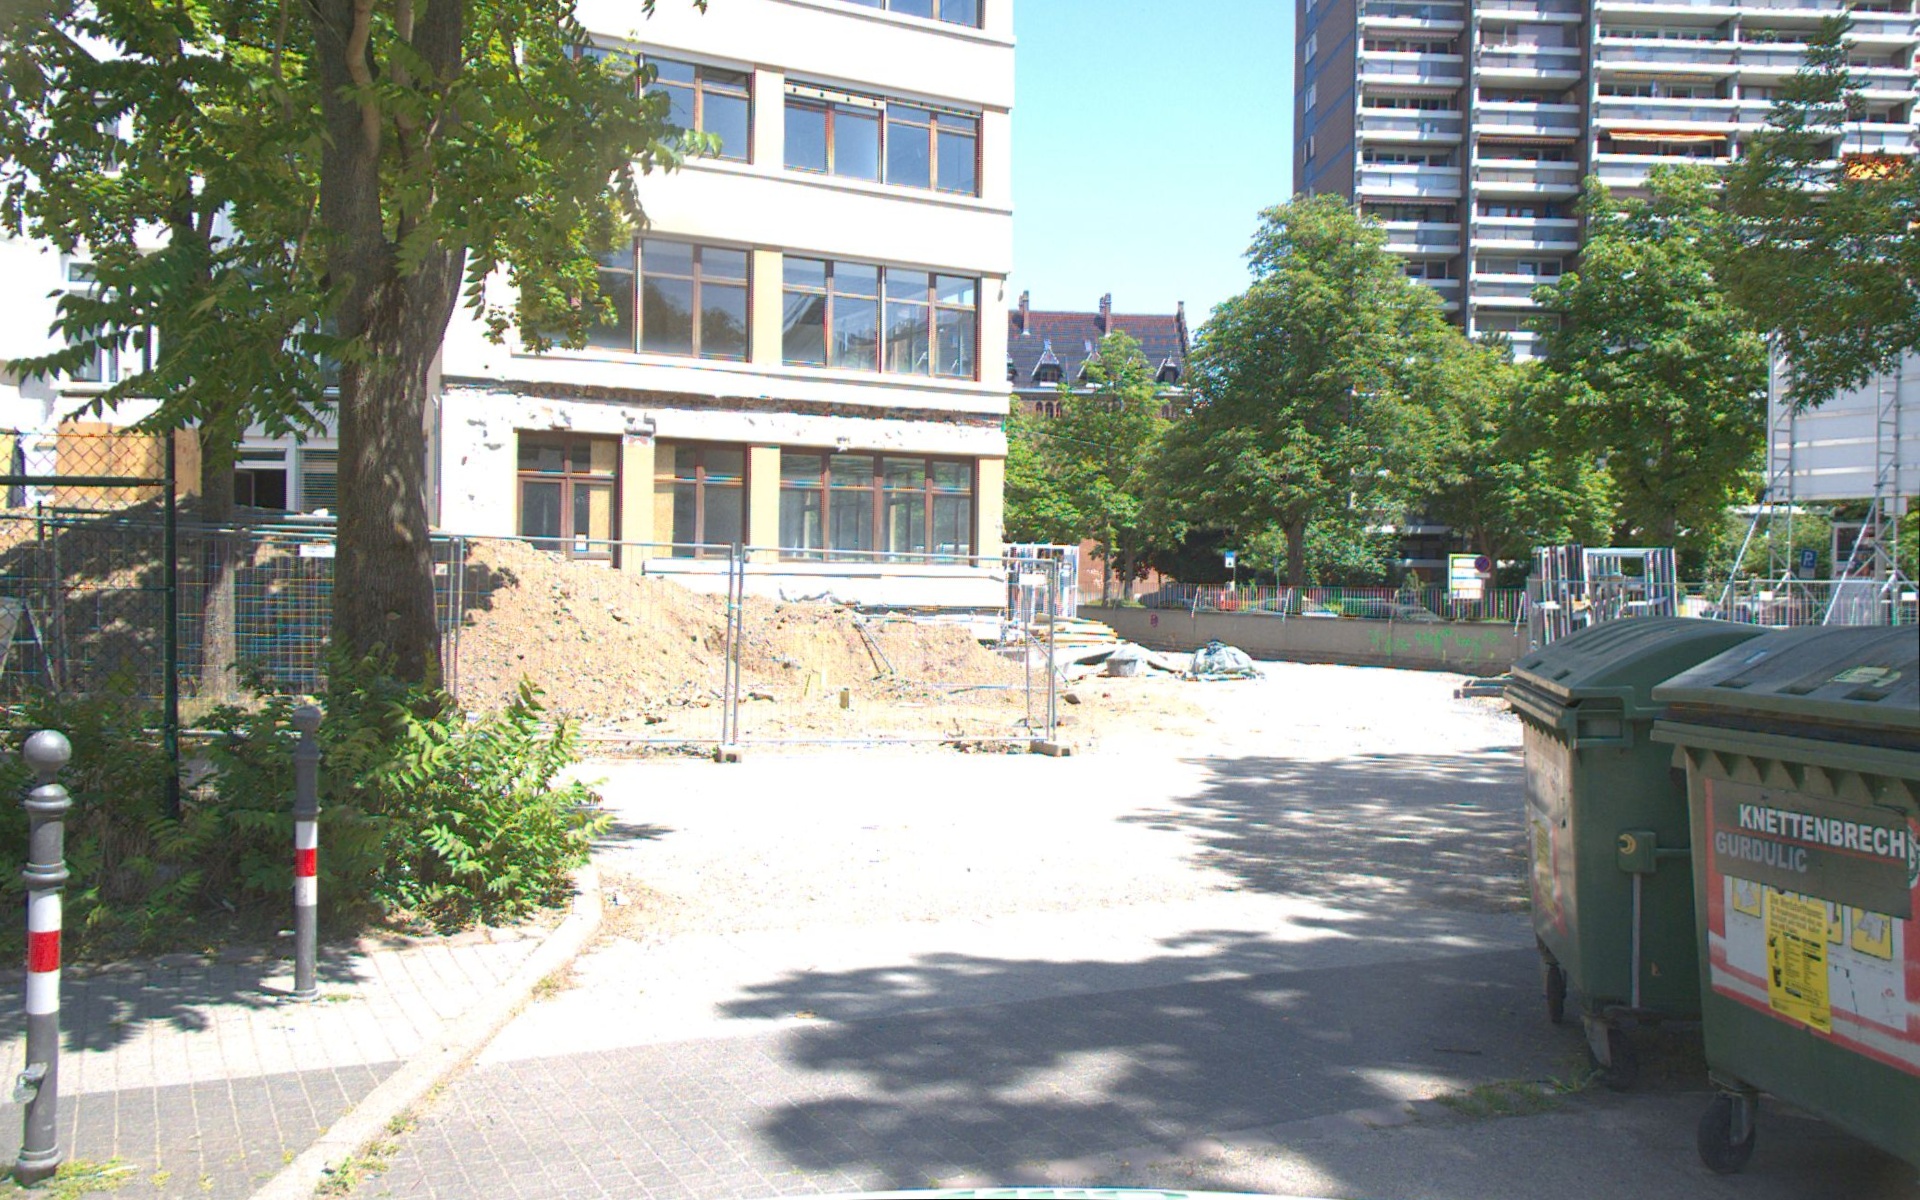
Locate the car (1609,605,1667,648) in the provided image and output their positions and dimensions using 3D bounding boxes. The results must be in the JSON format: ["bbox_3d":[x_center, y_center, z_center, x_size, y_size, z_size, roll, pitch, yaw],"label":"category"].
[{"bbox_3d":[23.451,0.900,57.287,1.599,1.411,3.679,1,0,18],"label":"car"}]

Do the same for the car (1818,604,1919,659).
[{"bbox_3d":[26.052,0.864,47.531,1.598,1.489,3.681,1,0,13],"label":"car"}]

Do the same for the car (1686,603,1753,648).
[{"bbox_3d":[24.850,0.809,54.211,1.599,1.411,3.679,1,0,18],"label":"car"}]

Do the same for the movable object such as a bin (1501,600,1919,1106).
[{"bbox_3d":[2.569,0.764,5.685,1.154,1.495,1.334,1,-1,10],"label":"movable object such as a bin"}]

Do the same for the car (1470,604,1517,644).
[{"bbox_3d":[20.012,0.887,61.976,1.599,1.411,3.679,1,0,18],"label":"car"}]

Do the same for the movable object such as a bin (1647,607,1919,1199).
[{"bbox_3d":[2.618,0.775,4.146,1.156,1.495,1.309,1,-1,-7],"label":"movable object such as a bin"}]
